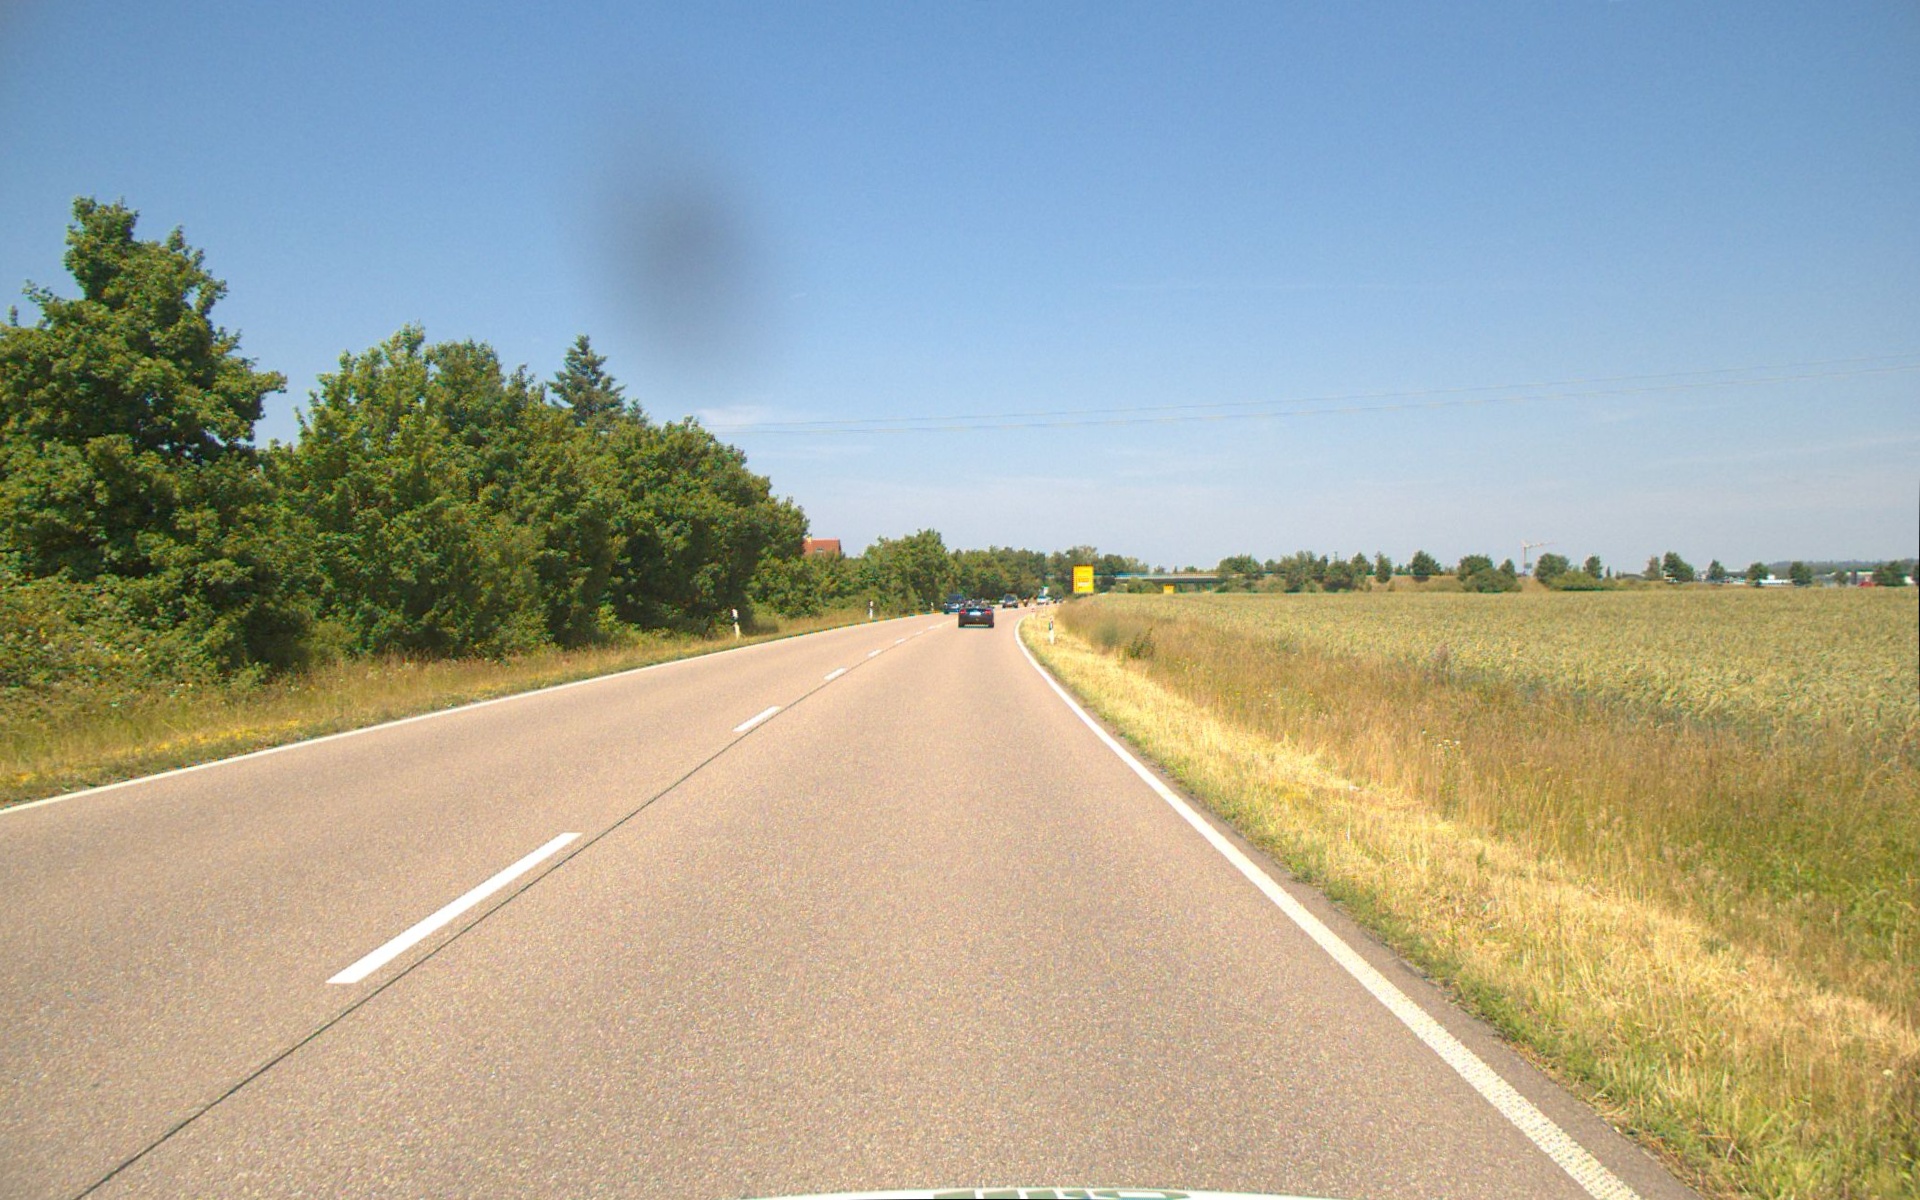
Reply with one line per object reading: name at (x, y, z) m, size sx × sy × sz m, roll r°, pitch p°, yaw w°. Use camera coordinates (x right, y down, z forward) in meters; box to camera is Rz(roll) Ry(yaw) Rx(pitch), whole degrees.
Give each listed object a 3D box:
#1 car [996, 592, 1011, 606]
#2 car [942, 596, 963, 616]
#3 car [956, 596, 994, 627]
car at (5.526, -0.114, 208.356) m, size 1.780 × 1.731 × 5.003 m, roll 0°, pitch 0°, yaw 3°
car at (-0.605, 0.492, 135.084) m, size 1.664 × 1.594 × 3.672 m, roll 0°, pitch 0°, yaw 1°
car at (0.756, 0.541, 81.894) m, size 1.777 × 1.466 × 4.001 m, roll 1°, pitch 0°, yaw 1°
